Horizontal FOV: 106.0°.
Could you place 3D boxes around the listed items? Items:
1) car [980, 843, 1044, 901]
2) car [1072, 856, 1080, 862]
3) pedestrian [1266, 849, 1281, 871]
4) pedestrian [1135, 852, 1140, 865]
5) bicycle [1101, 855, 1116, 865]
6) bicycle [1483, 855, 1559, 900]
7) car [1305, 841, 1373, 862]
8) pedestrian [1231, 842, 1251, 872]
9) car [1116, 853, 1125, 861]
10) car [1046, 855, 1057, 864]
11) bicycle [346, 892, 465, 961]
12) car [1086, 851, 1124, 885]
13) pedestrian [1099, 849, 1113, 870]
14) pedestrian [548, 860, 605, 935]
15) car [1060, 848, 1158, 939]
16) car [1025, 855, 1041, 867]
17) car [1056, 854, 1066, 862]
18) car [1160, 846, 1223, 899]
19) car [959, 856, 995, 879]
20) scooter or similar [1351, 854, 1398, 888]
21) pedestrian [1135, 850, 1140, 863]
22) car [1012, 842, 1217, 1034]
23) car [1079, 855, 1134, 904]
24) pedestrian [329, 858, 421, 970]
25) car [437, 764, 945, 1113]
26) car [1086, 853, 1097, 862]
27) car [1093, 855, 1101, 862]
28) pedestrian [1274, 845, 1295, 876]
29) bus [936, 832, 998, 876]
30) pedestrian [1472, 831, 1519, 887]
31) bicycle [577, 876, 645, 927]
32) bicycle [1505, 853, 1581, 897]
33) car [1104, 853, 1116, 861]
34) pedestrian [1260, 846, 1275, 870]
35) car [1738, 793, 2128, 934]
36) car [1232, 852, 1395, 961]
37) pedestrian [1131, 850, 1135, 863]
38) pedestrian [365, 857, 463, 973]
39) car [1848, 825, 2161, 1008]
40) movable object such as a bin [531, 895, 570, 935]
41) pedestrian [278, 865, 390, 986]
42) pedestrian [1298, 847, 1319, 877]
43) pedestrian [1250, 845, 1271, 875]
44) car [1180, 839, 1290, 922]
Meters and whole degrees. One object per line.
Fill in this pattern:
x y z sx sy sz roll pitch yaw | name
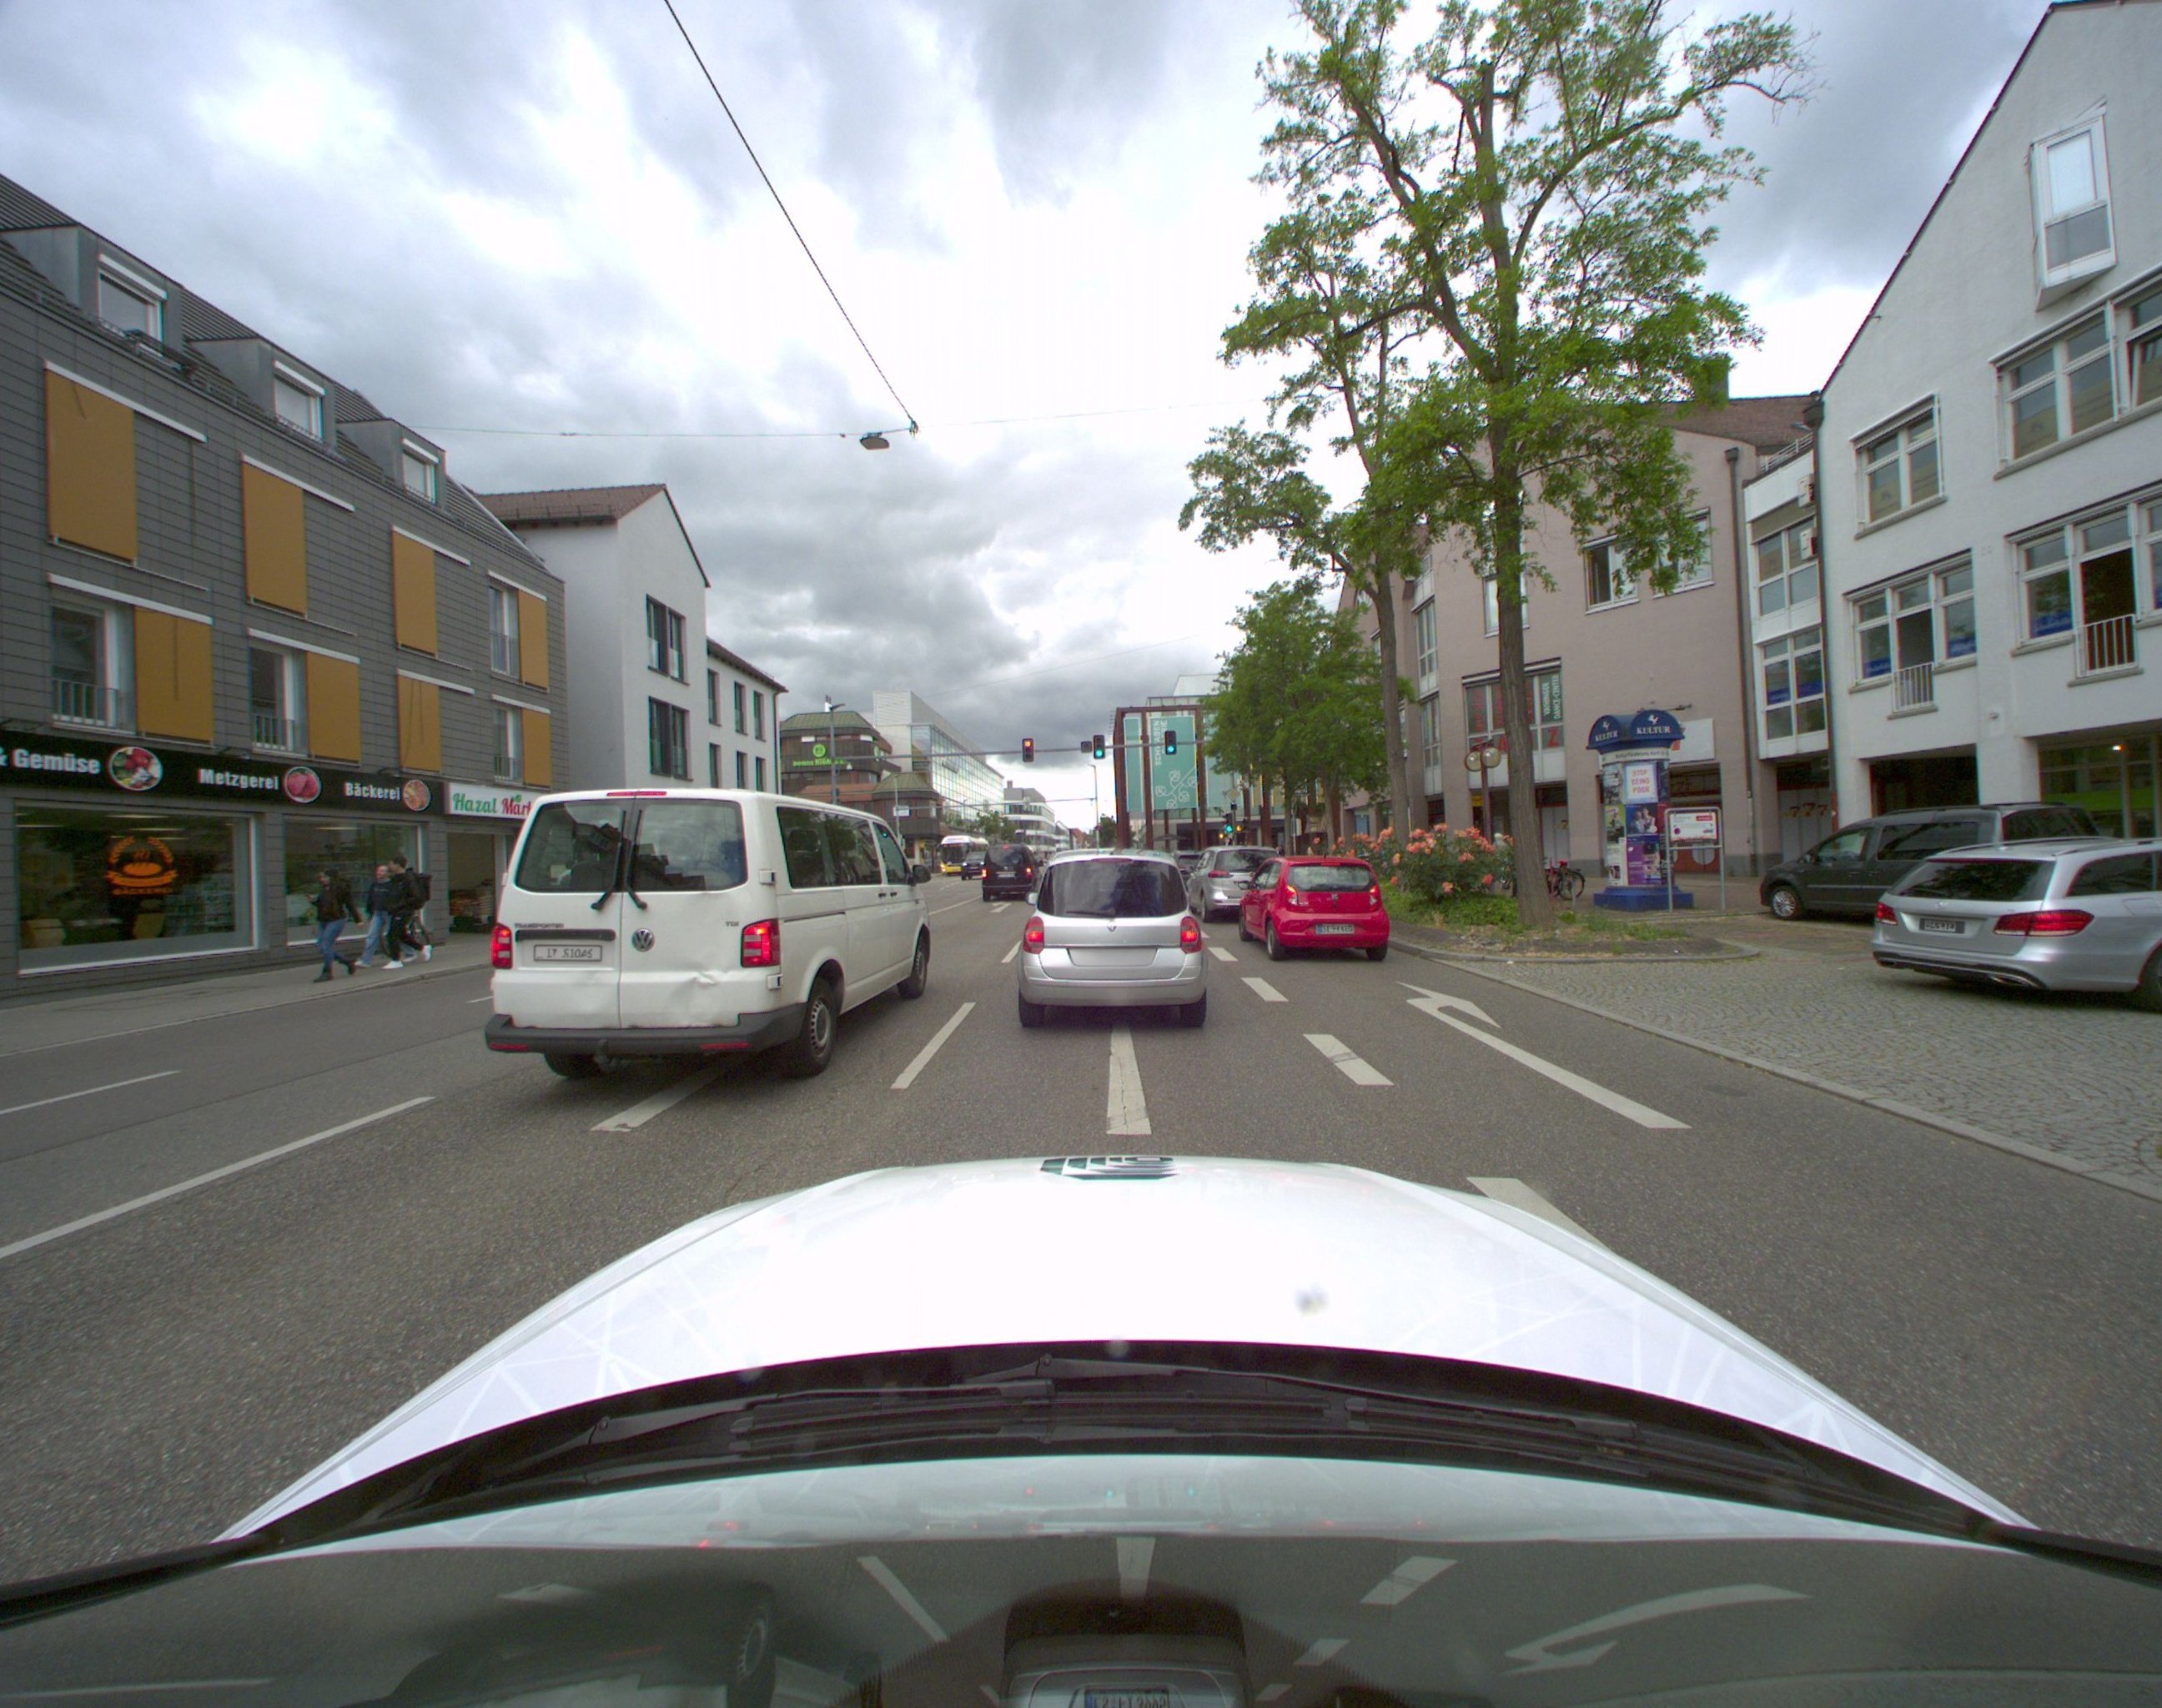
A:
-2.300 0.561 28.179 1.701 1.820 4.573 0 0 2 | car
-1.332 1.253 216.407 1.654 1.465 4.002 -3 0 2 | car
14.177 0.434 59.933 0.818 1.595 1.039 -2 0 1 | pedestrian
5.195 0.390 74.668 0.445 1.220 0.607 -2 0 4 | pedestrian
2.986 0.648 88.191 1.553 0.992 0.753 -2 0 4 | bicycle
10.756 0.579 19.956 1.549 1.048 0.409 -2 0 43 | bicycle
18.074 -0.183 57.177 4.161 1.404 1.800 -1 0 -1 | car
9.252 0.193 47.080 0.876 1.681 1.120 -2 0 -1 | pedestrian
7.625 0.590 157.681 1.870 1.564 4.002 0 0 2 | car
-5.196 1.039 144.621 1.654 1.465 4.002 -3 0 2 | car
-12.628 1.330 15.315 0.569 1.101 1.903 -2 0 2 | bicycle
1.138 0.624 38.086 1.663 1.495 3.643 0 0 2 | car
2.075 0.447 66.765 0.861 1.646 0.685 -2 0 36 | pedestrian
-11.648 0.987 18.807 0.976 1.643 0.880 -2 0 -39 | pedestrian
0.533 0.679 15.768 1.663 1.554 3.643 0 0 2 | car
-6.354 0.939 107.925 1.654 1.465 4.002 -3 0 2 | car
-4.204 0.869 170.348 1.654 1.465 4.002 -3 0 2 | car
3.756 0.596 28.413 1.733 1.701 4.382 0 0 2 | car
-7.065 0.922 55.861 1.752 1.448 4.037 -3 0 2 | car
9.961 0.576 27.718 0.471 1.087 1.878 -3 -1 -15 | scooter or similar
6.813 0.279 98.329 0.425 1.549 0.481 -2 0 0 | pedestrian
0.330 0.680 8.451 1.663 1.554 3.643 0 0 2 | car
0.842 0.783 26.621 1.663 1.495 3.643 0 0 2 | car
-11.795 0.981 13.632 0.704 1.781 0.871 -2 0 3 | pedestrian
-2.680 0.489 7.156 1.986 2.013 4.842 -1 0 2 | car
1.870 0.637 143.001 1.654 1.465 4.002 -3 0 2 | car
3.875 1.058 196.999 1.654 1.465 4.002 -3 0 2 | car
11.840 0.386 47.367 0.876 1.767 1.120 -2 0 -1 | pedestrian
-10.010 -0.039 73.163 2.975 3.327 12.316 -5 0 3 | bus
12.484 0.147 24.568 0.806 1.626 1.093 -3 0 -1 | pedestrian
-12.663 1.250 22.015 0.580 1.232 2.119 -2 0 0 | bicycle
11.410 0.527 20.163 1.549 1.048 0.409 -2 0 43 | bicycle
4.680 0.500 132.468 1.870 1.335 4.002 0 0 2 | car
13.134 0.290 57.243 0.739 1.626 0.953 -3 0 -2 | pedestrian
13.201 0.124 13.100 1.729 1.804 4.260 -3 0 -1 | car
3.452 0.699 12.742 1.620 1.448 3.643 0 0 2 | car
6.294 0.281 98.362 0.425 1.549 0.481 -2 0 0 | pedestrian
-11.061 0.979 13.540 0.704 1.839 1.029 -2 0 3 | pedestrian
10.537 0.470 7.826 4.622 1.453 1.740 -3 0 1 | car
-12.635 1.456 19.406 0.549 0.899 0.507 -2 0 0 | movable object such as a bin
-11.137 1.037 12.173 0.800 1.698 0.871 -2 0 3 | pedestrian
13.655 0.482 48.862 0.876 1.767 1.120 -2 0 -1 | pedestrian
10.357 0.357 47.030 0.876 1.681 1.120 -2 0 -1 | pedestrian
3.424 0.542 18.919 1.734 1.701 4.380 0 0 0 | car
